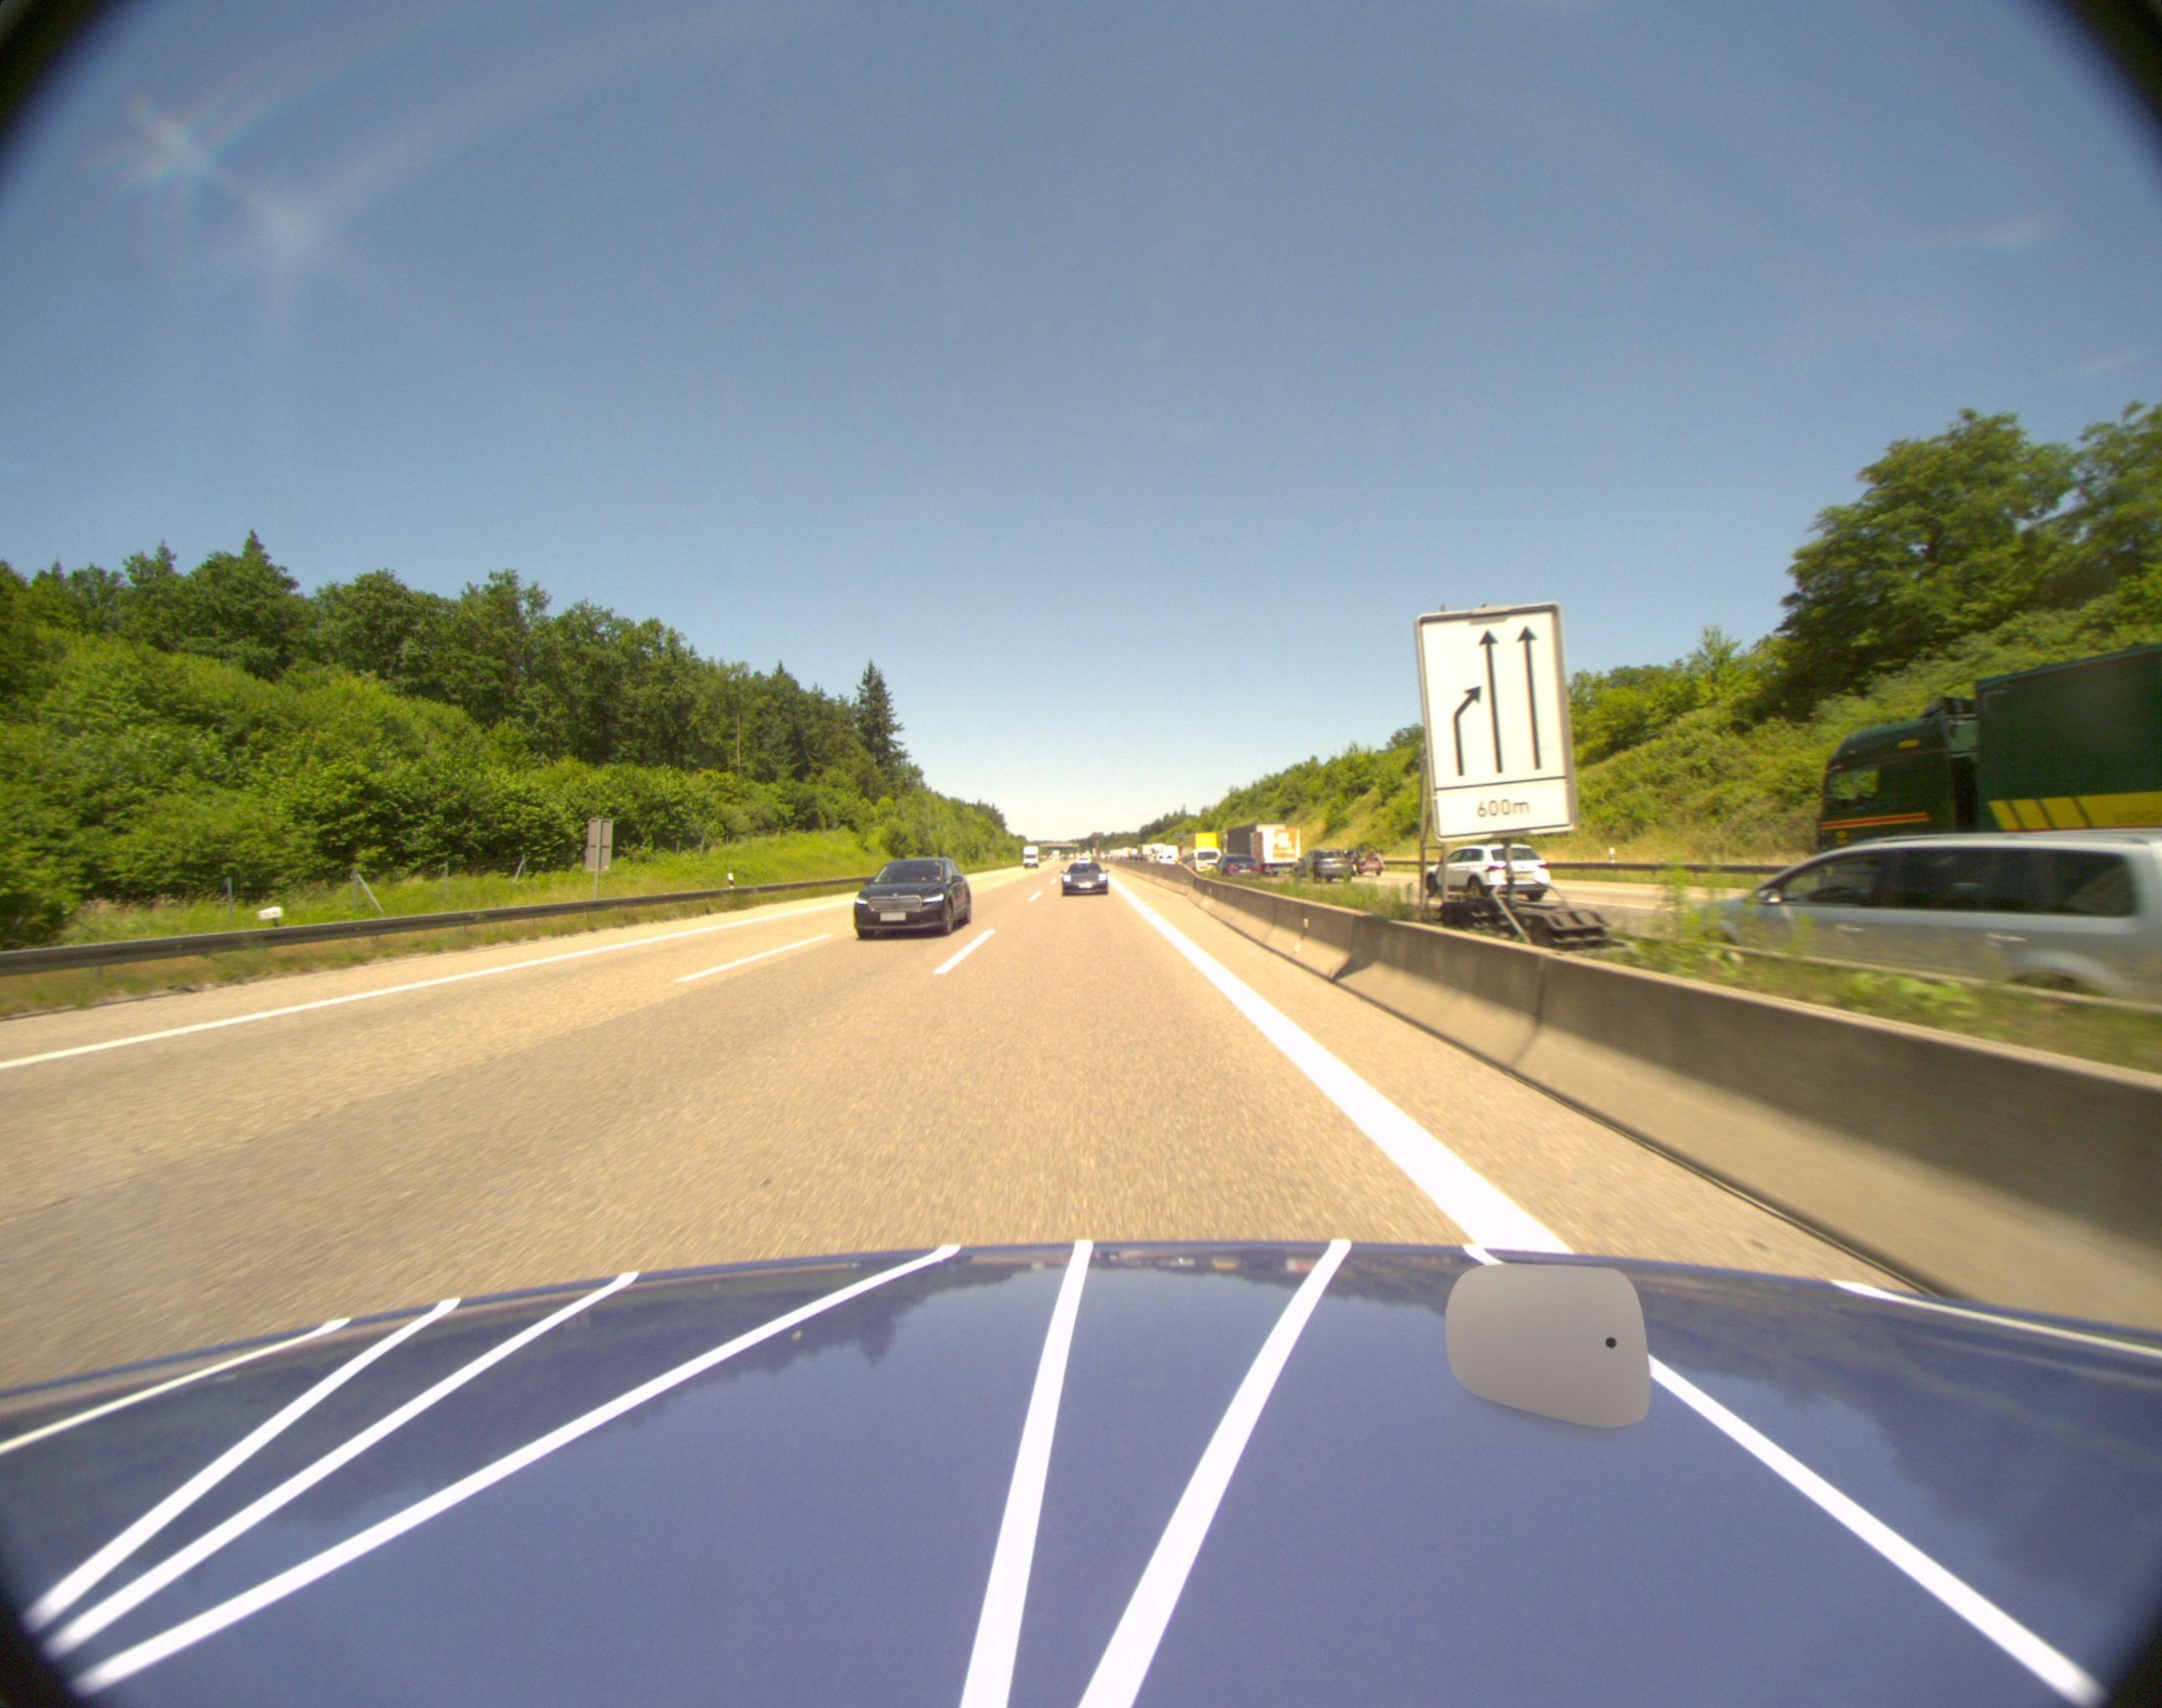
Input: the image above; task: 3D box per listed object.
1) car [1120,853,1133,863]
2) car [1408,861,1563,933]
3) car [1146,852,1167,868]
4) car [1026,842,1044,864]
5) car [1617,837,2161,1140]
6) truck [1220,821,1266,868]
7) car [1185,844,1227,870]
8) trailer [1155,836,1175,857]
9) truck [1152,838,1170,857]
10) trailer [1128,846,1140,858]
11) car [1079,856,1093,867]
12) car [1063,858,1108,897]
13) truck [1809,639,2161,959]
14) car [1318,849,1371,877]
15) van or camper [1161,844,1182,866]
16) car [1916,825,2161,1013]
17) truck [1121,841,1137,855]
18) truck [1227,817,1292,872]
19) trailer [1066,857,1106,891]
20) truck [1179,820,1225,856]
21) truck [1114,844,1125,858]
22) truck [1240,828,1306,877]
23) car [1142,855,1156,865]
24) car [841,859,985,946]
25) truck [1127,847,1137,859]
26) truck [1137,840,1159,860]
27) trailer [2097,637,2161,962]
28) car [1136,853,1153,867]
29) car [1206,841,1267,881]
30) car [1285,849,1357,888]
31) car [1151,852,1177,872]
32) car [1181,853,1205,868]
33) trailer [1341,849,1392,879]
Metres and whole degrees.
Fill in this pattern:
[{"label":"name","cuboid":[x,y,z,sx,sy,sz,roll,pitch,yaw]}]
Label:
[{"label":"car","cuboid":[7.792,0.661,131.080,1.833,1.488,4.758,-2,1,-2]},{"label":"car","cuboid":[11.769,1.161,22.575,1.832,1.754,4.990,-2,1,-1]},{"label":"car","cuboid":[8.868,0.694,89.715,1.832,1.754,4.990,-2,1,-1]},{"label":"car","cuboid":[-7.194,-0.159,119.559,2.303,3.317,7.621,-2,1,-1]},{"label":"car","cuboid":[7.300,0.777,6.503,1.832,1.754,4.990,-2,1,-1]},{"label":"truck","cuboid":[16.570,-0.920,78.384,2.949,4.489,8.605,-2,1,1]},{"label":"car","cuboid":[8.098,0.139,49.666,1.832,1.556,5.110,-2,1,-1]},{"label":"trailer","cuboid":[16.105,-1.347,145.881,2.617,3.711,10.681,-2,0,0]},{"label":"truck","cuboid":[16.069,-1.338,152.663,2.685,3.722,5.871,-2,1,-1]},{"label":"trailer","cuboid":[15.358,-0.487,220.714,2.584,3.274,11.698,-2,-1,-1]},{"label":"car","cuboid":[0.617,0.958,99.295,1.719,1.432,4.456,-1,1,0]},{"label":"car","cuboid":[0.230,0.906,31.568,1.718,1.432,4.457,-1,1,2]},{"label":"truck","cuboid":[15.583,-0.776,11.983,2.826,4.179,5.629,-2,1,1]},{"label":"car","cuboid":[16.305,0.503,47.240,1.737,1.578,4.368,-2,1,0]},{"label":"van or camper","cuboid":[12.298,0.088,104.037,2.202,2.922,7.534,-2,1,2]},{"label":"car","cuboid":[11.156,0.601,6.797,1.832,1.754,4.990,-2,1,-1]},{"label":"truck","cuboid":[15.541,-1.940,247.051,3.706,4.430,17.378,-2,1,0]},{"label":"truck","cuboid":[16.347,-0.824,70.783,3.002,4.516,13.924,-2,1,1]},{"label":"trailer","cuboid":[0.274,0.890,34.889,1.689,1.399,3.046,-1,0,2]},{"label":"truck","cuboid":[16.553,-2.121,105.413,3.705,4.430,16.674,-2,1,1]},{"label":"truck","cuboid":[8.442,-0.681,166.347,2.273,2.999,6.777,-2,1,2]},{"label":"truck","cuboid":[12.184,-0.137,48.800,2.575,2.828,6.752,-2,1,1]},{"label":"car","cuboid":[11.950,1.011,134.123,2.002,1.718,4.758,-2,1,-1]},{"label":"car","cuboid":[-3.531,0.952,16.878,1.989,1.609,4.458,-2,0,2]},{"label":"truck","cuboid":[15.273,-0.319,227.243,2.500,3.345,5.186,-2,-1,0]},{"label":"truck","cuboid":[16.024,-0.969,183.286,3.706,4.430,17.378,-2,1,0]},{"label":"trailer","cuboid":[15.428,-0.701,4.125,2.850,4.237,12.785,-2,1,1]},{"label":"car","cuboid":[8.740,0.848,104.869,1.832,1.754,4.990,-2,1,-1]},{"label":"car","cuboid":[7.525,0.311,37.258,1.832,1.754,4.990,-2,1,-1]},{"label":"car","cuboid":[11.647,0.644,37.257,1.832,1.754,4.990,-2,1,-1]},{"label":"car","cuboid":[8.063,0.736,74.002,1.832,1.754,4.990,-2,1,-1]},{"label":"car","cuboid":[12.363,0.680,84.072,1.832,1.556,4.523,-2,1,-1]},{"label":"trailer","cuboid":[16.285,0.536,43.448,1.698,1.578,3.222,-2,1,0]}]
